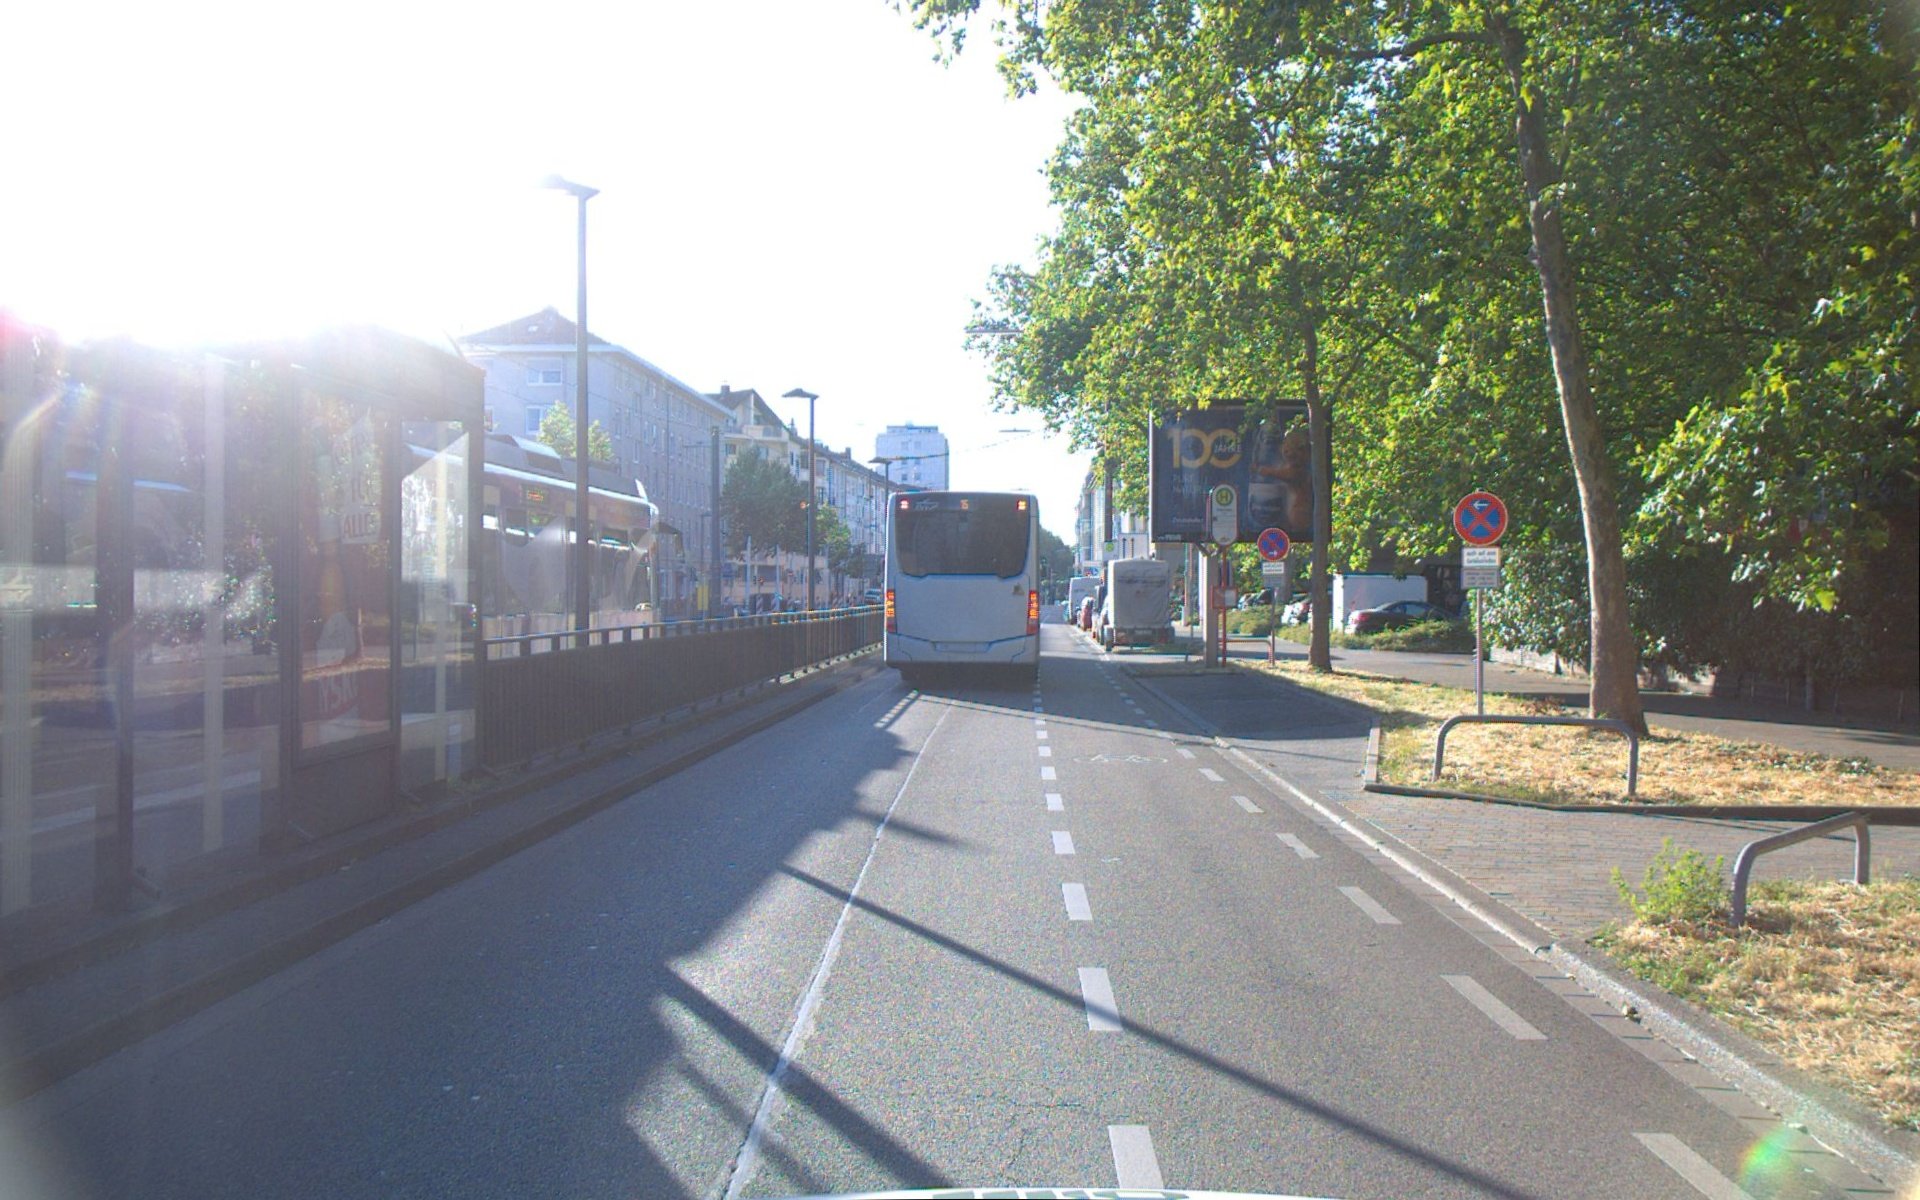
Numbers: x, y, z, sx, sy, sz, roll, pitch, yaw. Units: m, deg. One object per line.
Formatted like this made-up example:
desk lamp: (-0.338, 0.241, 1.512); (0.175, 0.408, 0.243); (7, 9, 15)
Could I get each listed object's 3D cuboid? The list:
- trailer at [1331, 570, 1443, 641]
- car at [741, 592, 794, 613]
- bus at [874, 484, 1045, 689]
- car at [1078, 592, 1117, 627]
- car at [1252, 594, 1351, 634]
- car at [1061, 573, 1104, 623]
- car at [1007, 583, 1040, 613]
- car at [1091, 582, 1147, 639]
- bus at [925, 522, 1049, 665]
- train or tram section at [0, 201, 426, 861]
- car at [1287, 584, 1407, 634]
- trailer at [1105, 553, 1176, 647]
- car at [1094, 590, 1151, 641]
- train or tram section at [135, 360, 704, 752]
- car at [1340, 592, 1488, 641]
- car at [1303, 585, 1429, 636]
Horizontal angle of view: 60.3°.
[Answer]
trailer: (12.918, 0.145, 50.186); (3.000, 2.106, 1.879); (0, 0, 4)
car: (-15.434, 0.213, 132.685); (4.050, 1.646, 2.000); (0, 0, 0)
bus: (0.265, -0.252, 31.180); (2.676, 3.193, 10.707); (0, 0, 3)
car: (6.367, 0.426, 76.846); (1.636, 1.488, 3.934); (-2, 0, 3)
car: (14.266, 0.581, 69.183); (3.838, 1.616, 1.707); (0, 0, 2)
car: (6.834, -0.102, 92.910); (2.234, 2.673, 5.311); (0, 0, 3)
car: (4.049, -0.145, 104.981); (1.952, 1.847, 4.002); (0, 0, 3)
car: (5.812, 0.368, 60.855); (1.808, 1.991, 4.545); (0, 0, 3)
bus: (0.831, -0.178, 40.989); (2.651, 3.161, 8.984); (0, 0, 4)
train or tram section: (-6.596, -0.374, 9.028); (2.672, 3.611, 12.789); (0, 0, 3)
car: (13.503, 0.313, 57.811); (3.838, 1.666, 1.707); (0, 0, 2)
trailer: (5.165, -0.001, 47.724); (1.794, 2.602, 3.320); (-1, 0, 3)
car: (5.356, 0.509, 54.838); (1.665, 1.616, 3.829); (0, 0, 3)
train or tram section: (-6.006, -0.431, 21.863); (2.585, 3.580, 13.338); (0, 0, 3)
car: (12.995, 0.467, 47.491); (3.838, 1.359, 1.707); (0, 0, 3)
car: (13.566, 0.356, 55.443); (3.838, 1.665, 1.707); (0, 0, 2)
